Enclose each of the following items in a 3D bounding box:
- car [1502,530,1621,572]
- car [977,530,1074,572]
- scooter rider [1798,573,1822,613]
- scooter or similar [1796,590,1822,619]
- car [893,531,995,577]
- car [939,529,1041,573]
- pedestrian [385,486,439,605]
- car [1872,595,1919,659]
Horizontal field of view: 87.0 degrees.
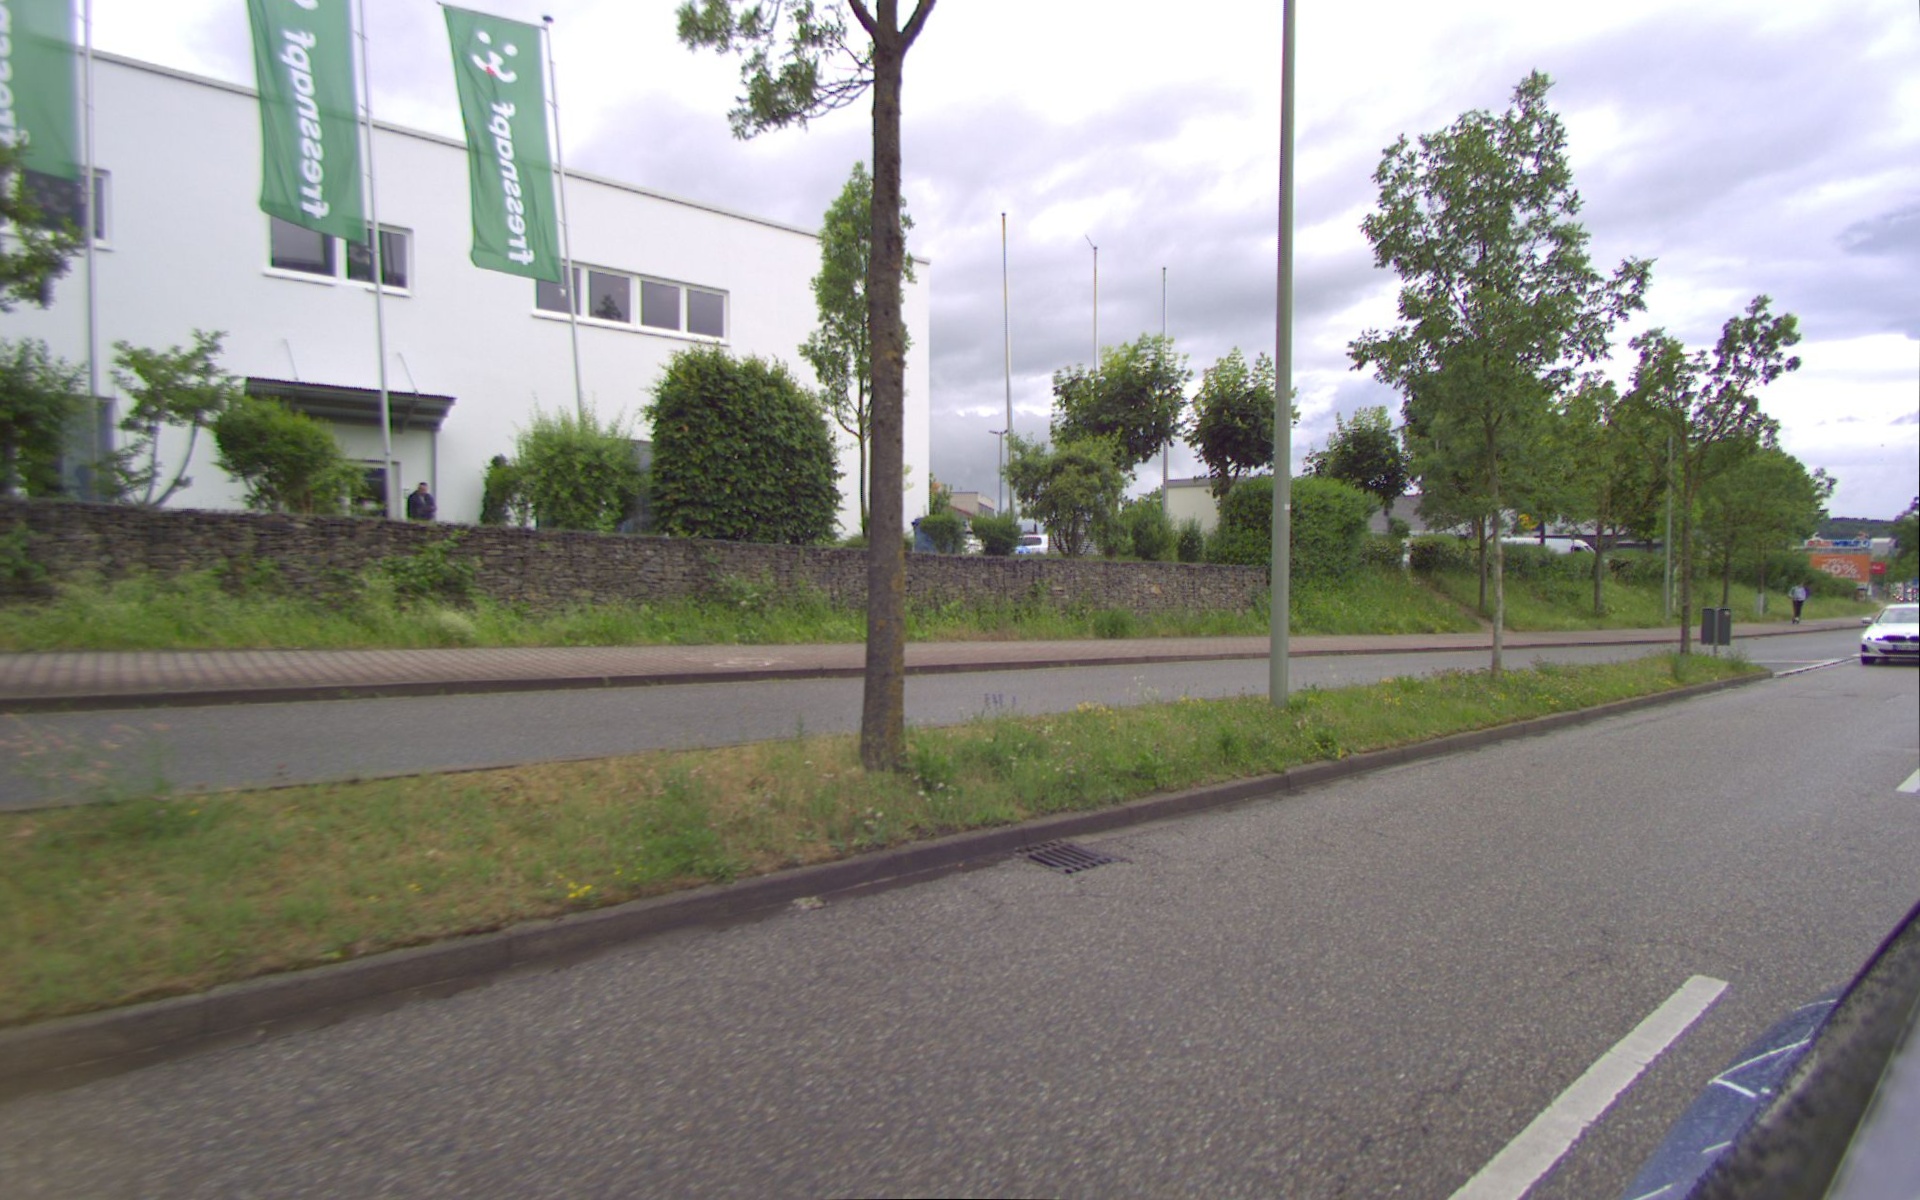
[{"bbox_3d":[35.144,-2.879,59.236,5.608,2.167,2.090,6,5,42],"label":"car"},{"bbox_3d":[2.738,-2.069,42.929,1.769,1.683,3.991,0,2,-44],"label":"car"},{"bbox_3d":[40.453,-0.338,48.168,0.843,1.842,0.696,-1,4,-42],"label":"scooter rider"},{"bbox_3d":[40.412,0.205,48.172,1.377,1.279,0.696,-1,4,-42],"label":"scooter or similar"},{"bbox_3d":[-0.667,-1.799,39.575,1.769,1.683,3.991,0,2,-44],"label":"car"},{"bbox_3d":[1.172,-1.974,40.991,1.769,1.683,3.991,0,2,-44],"label":"car"},{"bbox_3d":[-10.227,-1.003,18.872,0.742,2.152,0.695,0,2,-39],"label":"pedestrian"},{"bbox_3d":[23.789,0.619,24.632,4.462,1.458,1.807,0,0,-40],"label":"car"}]
